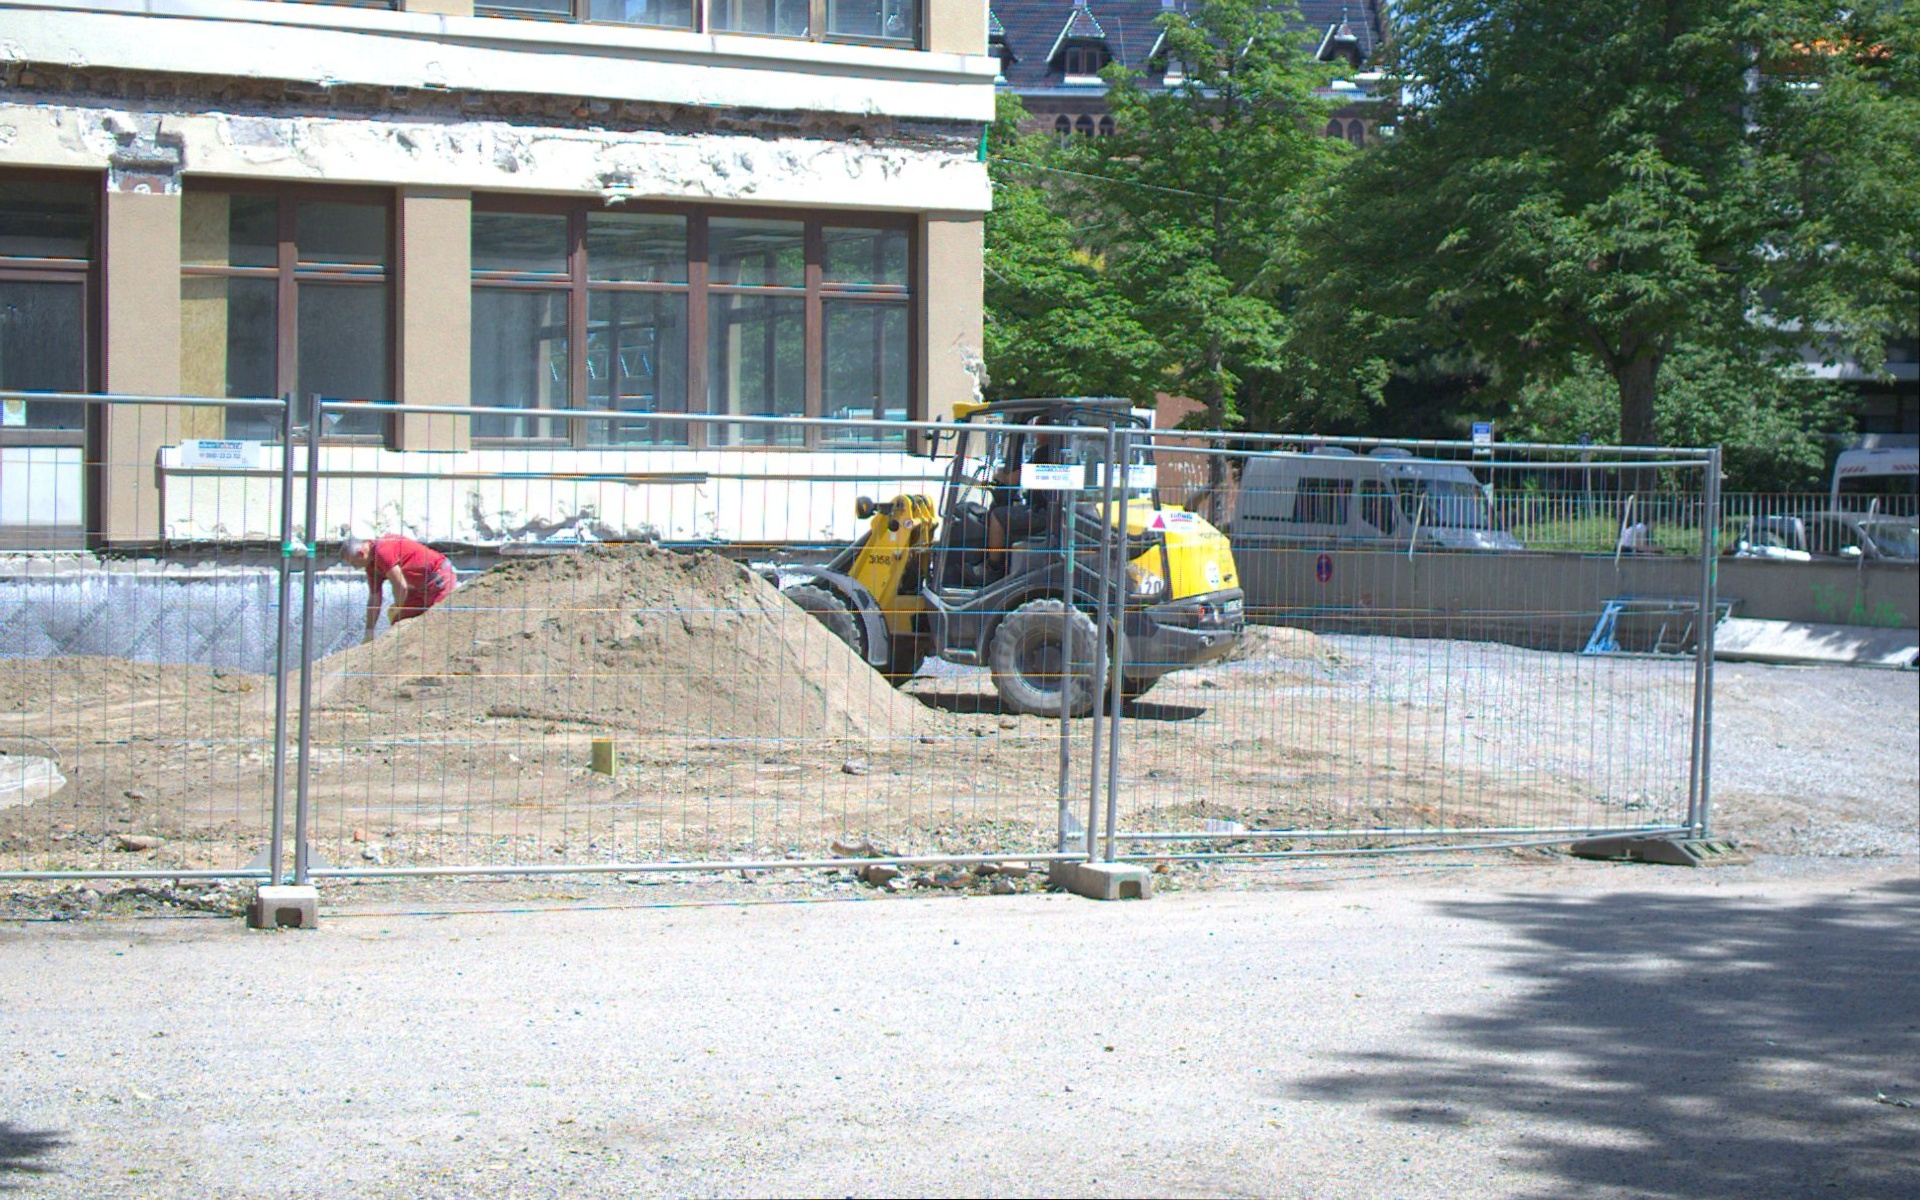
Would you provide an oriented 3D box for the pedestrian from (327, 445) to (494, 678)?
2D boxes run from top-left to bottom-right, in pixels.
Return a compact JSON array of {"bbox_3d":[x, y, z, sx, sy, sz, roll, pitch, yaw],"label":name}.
[{"bbox_3d":[-4.459,-0.322,27.920,0.916,1.840,0.984,1,2,34],"label":"pedestrian"}]

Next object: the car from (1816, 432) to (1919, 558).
[{"bbox_3d":[17.362,-1.949,64.139,2.186,2.250,4.864,1,2,20],"label":"car"}]

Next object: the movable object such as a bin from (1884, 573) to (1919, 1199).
[{"bbox_3d":[2.526,0.688,6.670,1.075,1.453,1.377,0,1,0],"label":"movable object such as a bin"}]

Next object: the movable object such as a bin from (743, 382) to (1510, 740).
[{"bbox_3d":[1.300,-0.366,26.774,5.409,2.455,2.365,3,2,22],"label":"movable object such as a bin"}]

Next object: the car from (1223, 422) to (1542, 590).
[{"bbox_3d":[6.304,-1.421,51.970,1.993,2.408,5.244,-1,2,-30],"label":"car"}]
